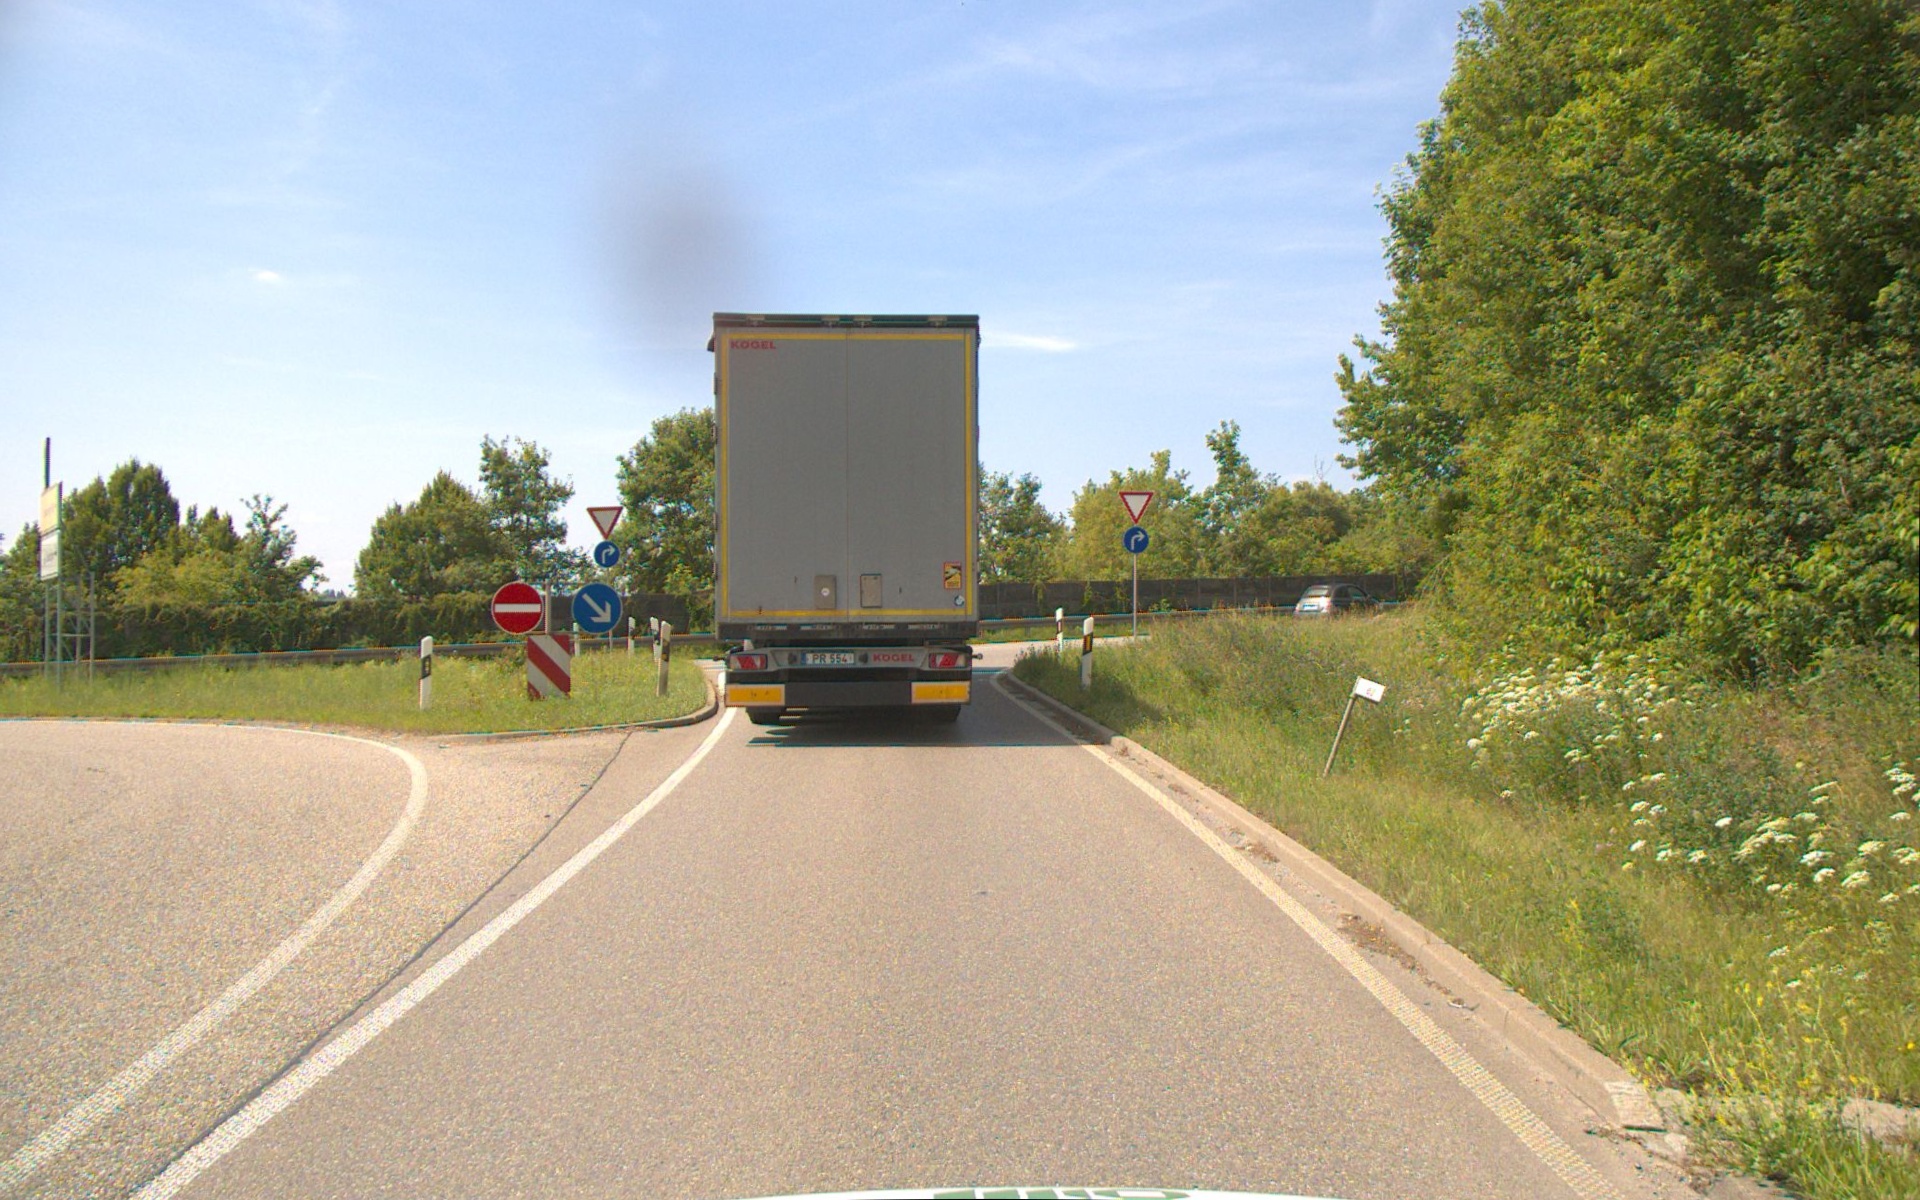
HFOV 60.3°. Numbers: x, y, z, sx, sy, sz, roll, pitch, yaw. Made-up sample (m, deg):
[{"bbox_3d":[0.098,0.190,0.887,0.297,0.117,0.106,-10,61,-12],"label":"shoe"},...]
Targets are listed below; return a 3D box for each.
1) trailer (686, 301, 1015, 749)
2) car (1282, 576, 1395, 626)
[{"bbox_3d":[-1.368,-0.731,21.998,2.967,4.105,13.343,-1,0,-3],"label":"trailer"},{"bbox_3d":[12.223,0.021,53.284,3.969,1.512,1.644,-2,0,-44],"label":"car"}]
